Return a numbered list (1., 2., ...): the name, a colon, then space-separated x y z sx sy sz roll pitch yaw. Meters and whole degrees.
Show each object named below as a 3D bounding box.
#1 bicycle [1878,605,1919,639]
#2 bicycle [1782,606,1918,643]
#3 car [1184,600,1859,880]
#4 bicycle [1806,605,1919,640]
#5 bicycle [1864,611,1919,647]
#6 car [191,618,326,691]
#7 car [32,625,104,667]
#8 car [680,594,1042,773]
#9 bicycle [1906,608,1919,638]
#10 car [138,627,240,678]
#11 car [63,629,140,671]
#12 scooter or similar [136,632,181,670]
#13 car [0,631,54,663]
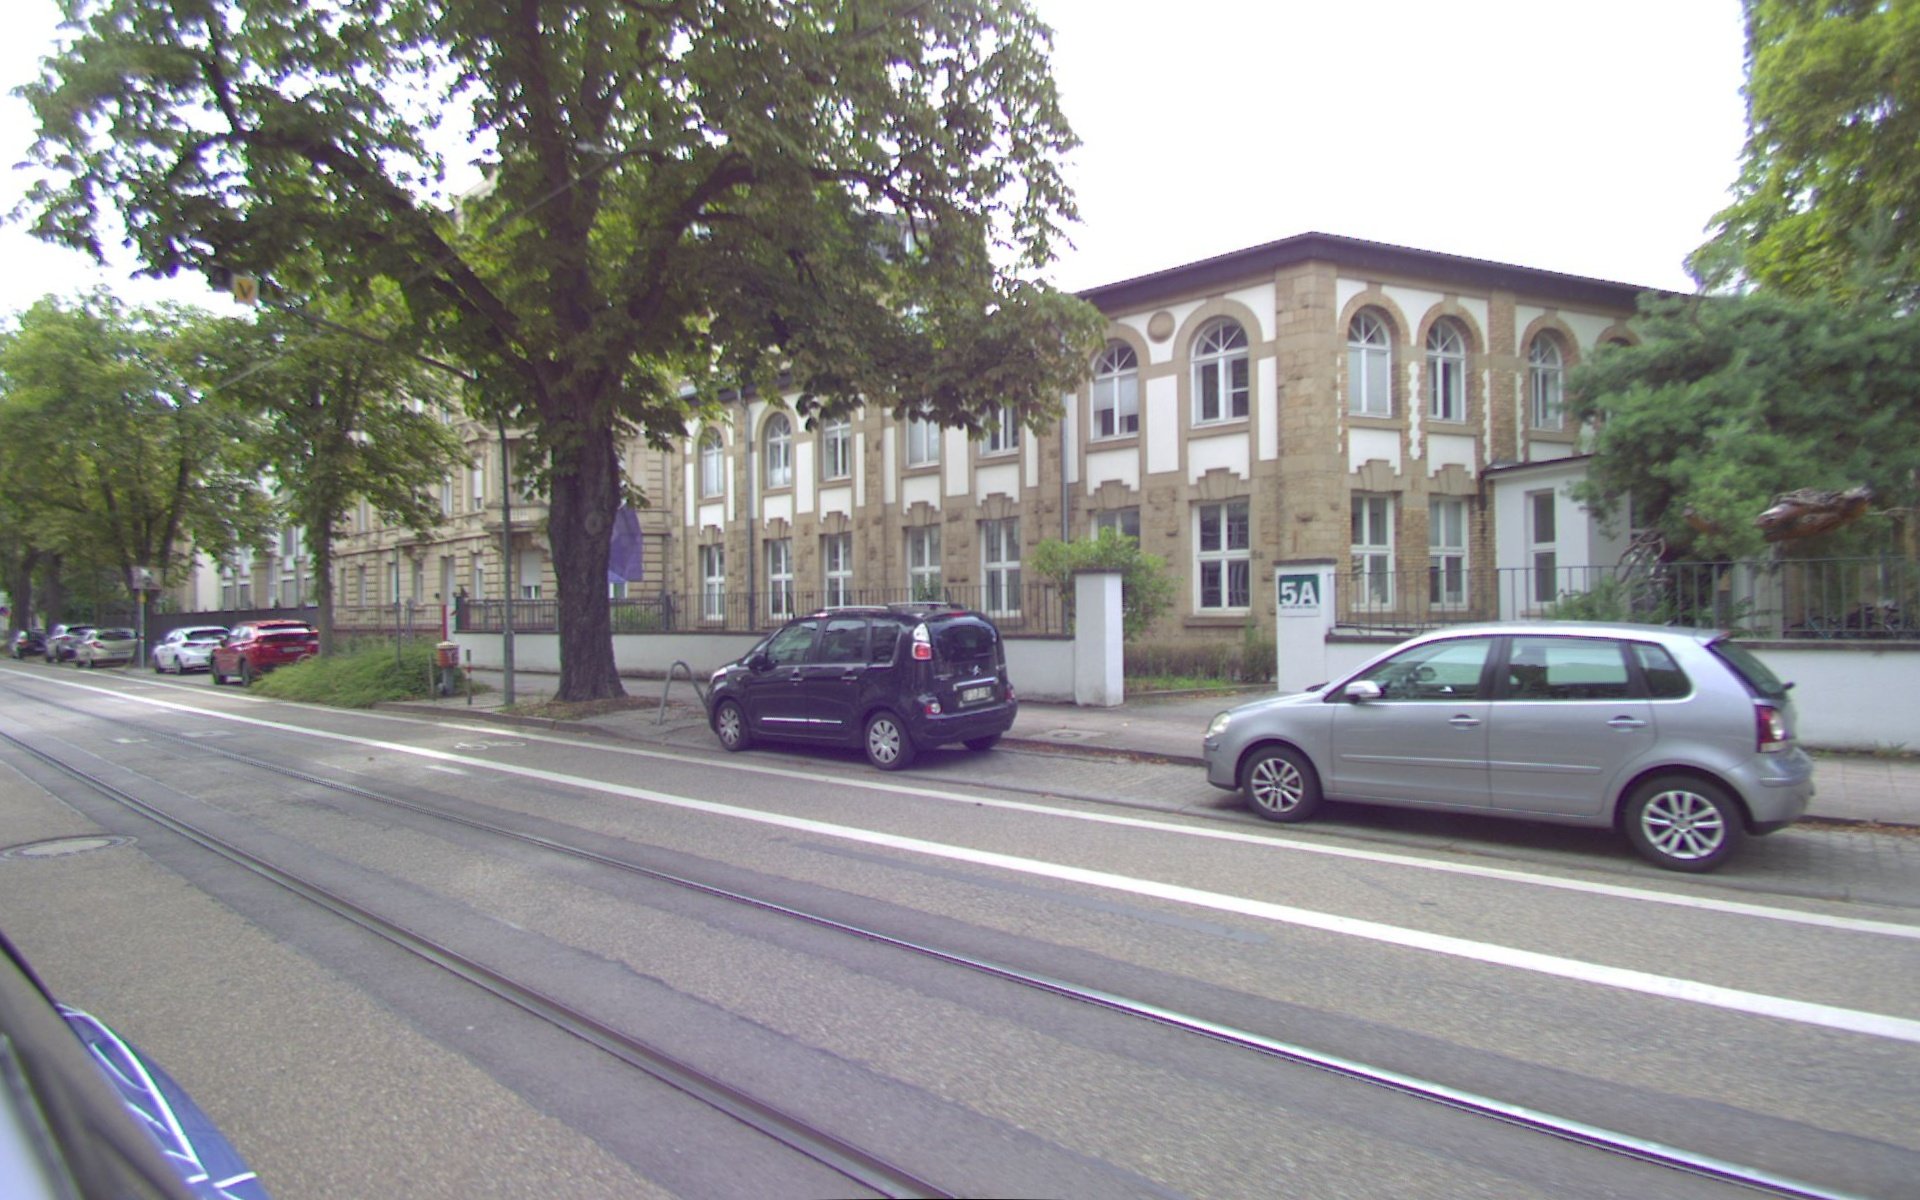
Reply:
1. bicycle: 22.707 0.511 23.394 0.702 0.779 2.053 -2 0 -30
2. bicycle: 18.987 0.517 21.654 0.702 0.713 2.053 -2 0 -30
3. car: 3.755 0.777 7.212 3.865 1.438 1.676 -2 0 40
4. bicycle: 19.848 0.491 22.032 0.702 0.713 2.053 -2 0 -30
5. bicycle: 21.912 0.650 22.884 0.702 0.779 2.053 -2 0 -30
6. car: -18.444 1.374 26.546 4.538 1.667 1.704 -2 1 40
7. car: -38.640 1.975 43.808 4.354 1.686 1.693 -2 -1 40
8. car: -1.240 0.829 11.517 4.049 1.659 1.738 -2 0 40
9. bicycle: 24.204 0.530 24.302 2.041 0.713 0.706 -2 0 33
10. car: -24.788 1.655 32.512 4.019 1.434 1.704 -2 1 40
11. car: -32.795 1.886 38.635 4.076 1.479 1.584 -2 -1 40
12. scooter or similar: -27.242 1.736 34.407 1.312 1.232 0.559 -1 -1 17
13. car: -47.711 2.368 51.666 4.165 1.435 1.702 -2 1 42
